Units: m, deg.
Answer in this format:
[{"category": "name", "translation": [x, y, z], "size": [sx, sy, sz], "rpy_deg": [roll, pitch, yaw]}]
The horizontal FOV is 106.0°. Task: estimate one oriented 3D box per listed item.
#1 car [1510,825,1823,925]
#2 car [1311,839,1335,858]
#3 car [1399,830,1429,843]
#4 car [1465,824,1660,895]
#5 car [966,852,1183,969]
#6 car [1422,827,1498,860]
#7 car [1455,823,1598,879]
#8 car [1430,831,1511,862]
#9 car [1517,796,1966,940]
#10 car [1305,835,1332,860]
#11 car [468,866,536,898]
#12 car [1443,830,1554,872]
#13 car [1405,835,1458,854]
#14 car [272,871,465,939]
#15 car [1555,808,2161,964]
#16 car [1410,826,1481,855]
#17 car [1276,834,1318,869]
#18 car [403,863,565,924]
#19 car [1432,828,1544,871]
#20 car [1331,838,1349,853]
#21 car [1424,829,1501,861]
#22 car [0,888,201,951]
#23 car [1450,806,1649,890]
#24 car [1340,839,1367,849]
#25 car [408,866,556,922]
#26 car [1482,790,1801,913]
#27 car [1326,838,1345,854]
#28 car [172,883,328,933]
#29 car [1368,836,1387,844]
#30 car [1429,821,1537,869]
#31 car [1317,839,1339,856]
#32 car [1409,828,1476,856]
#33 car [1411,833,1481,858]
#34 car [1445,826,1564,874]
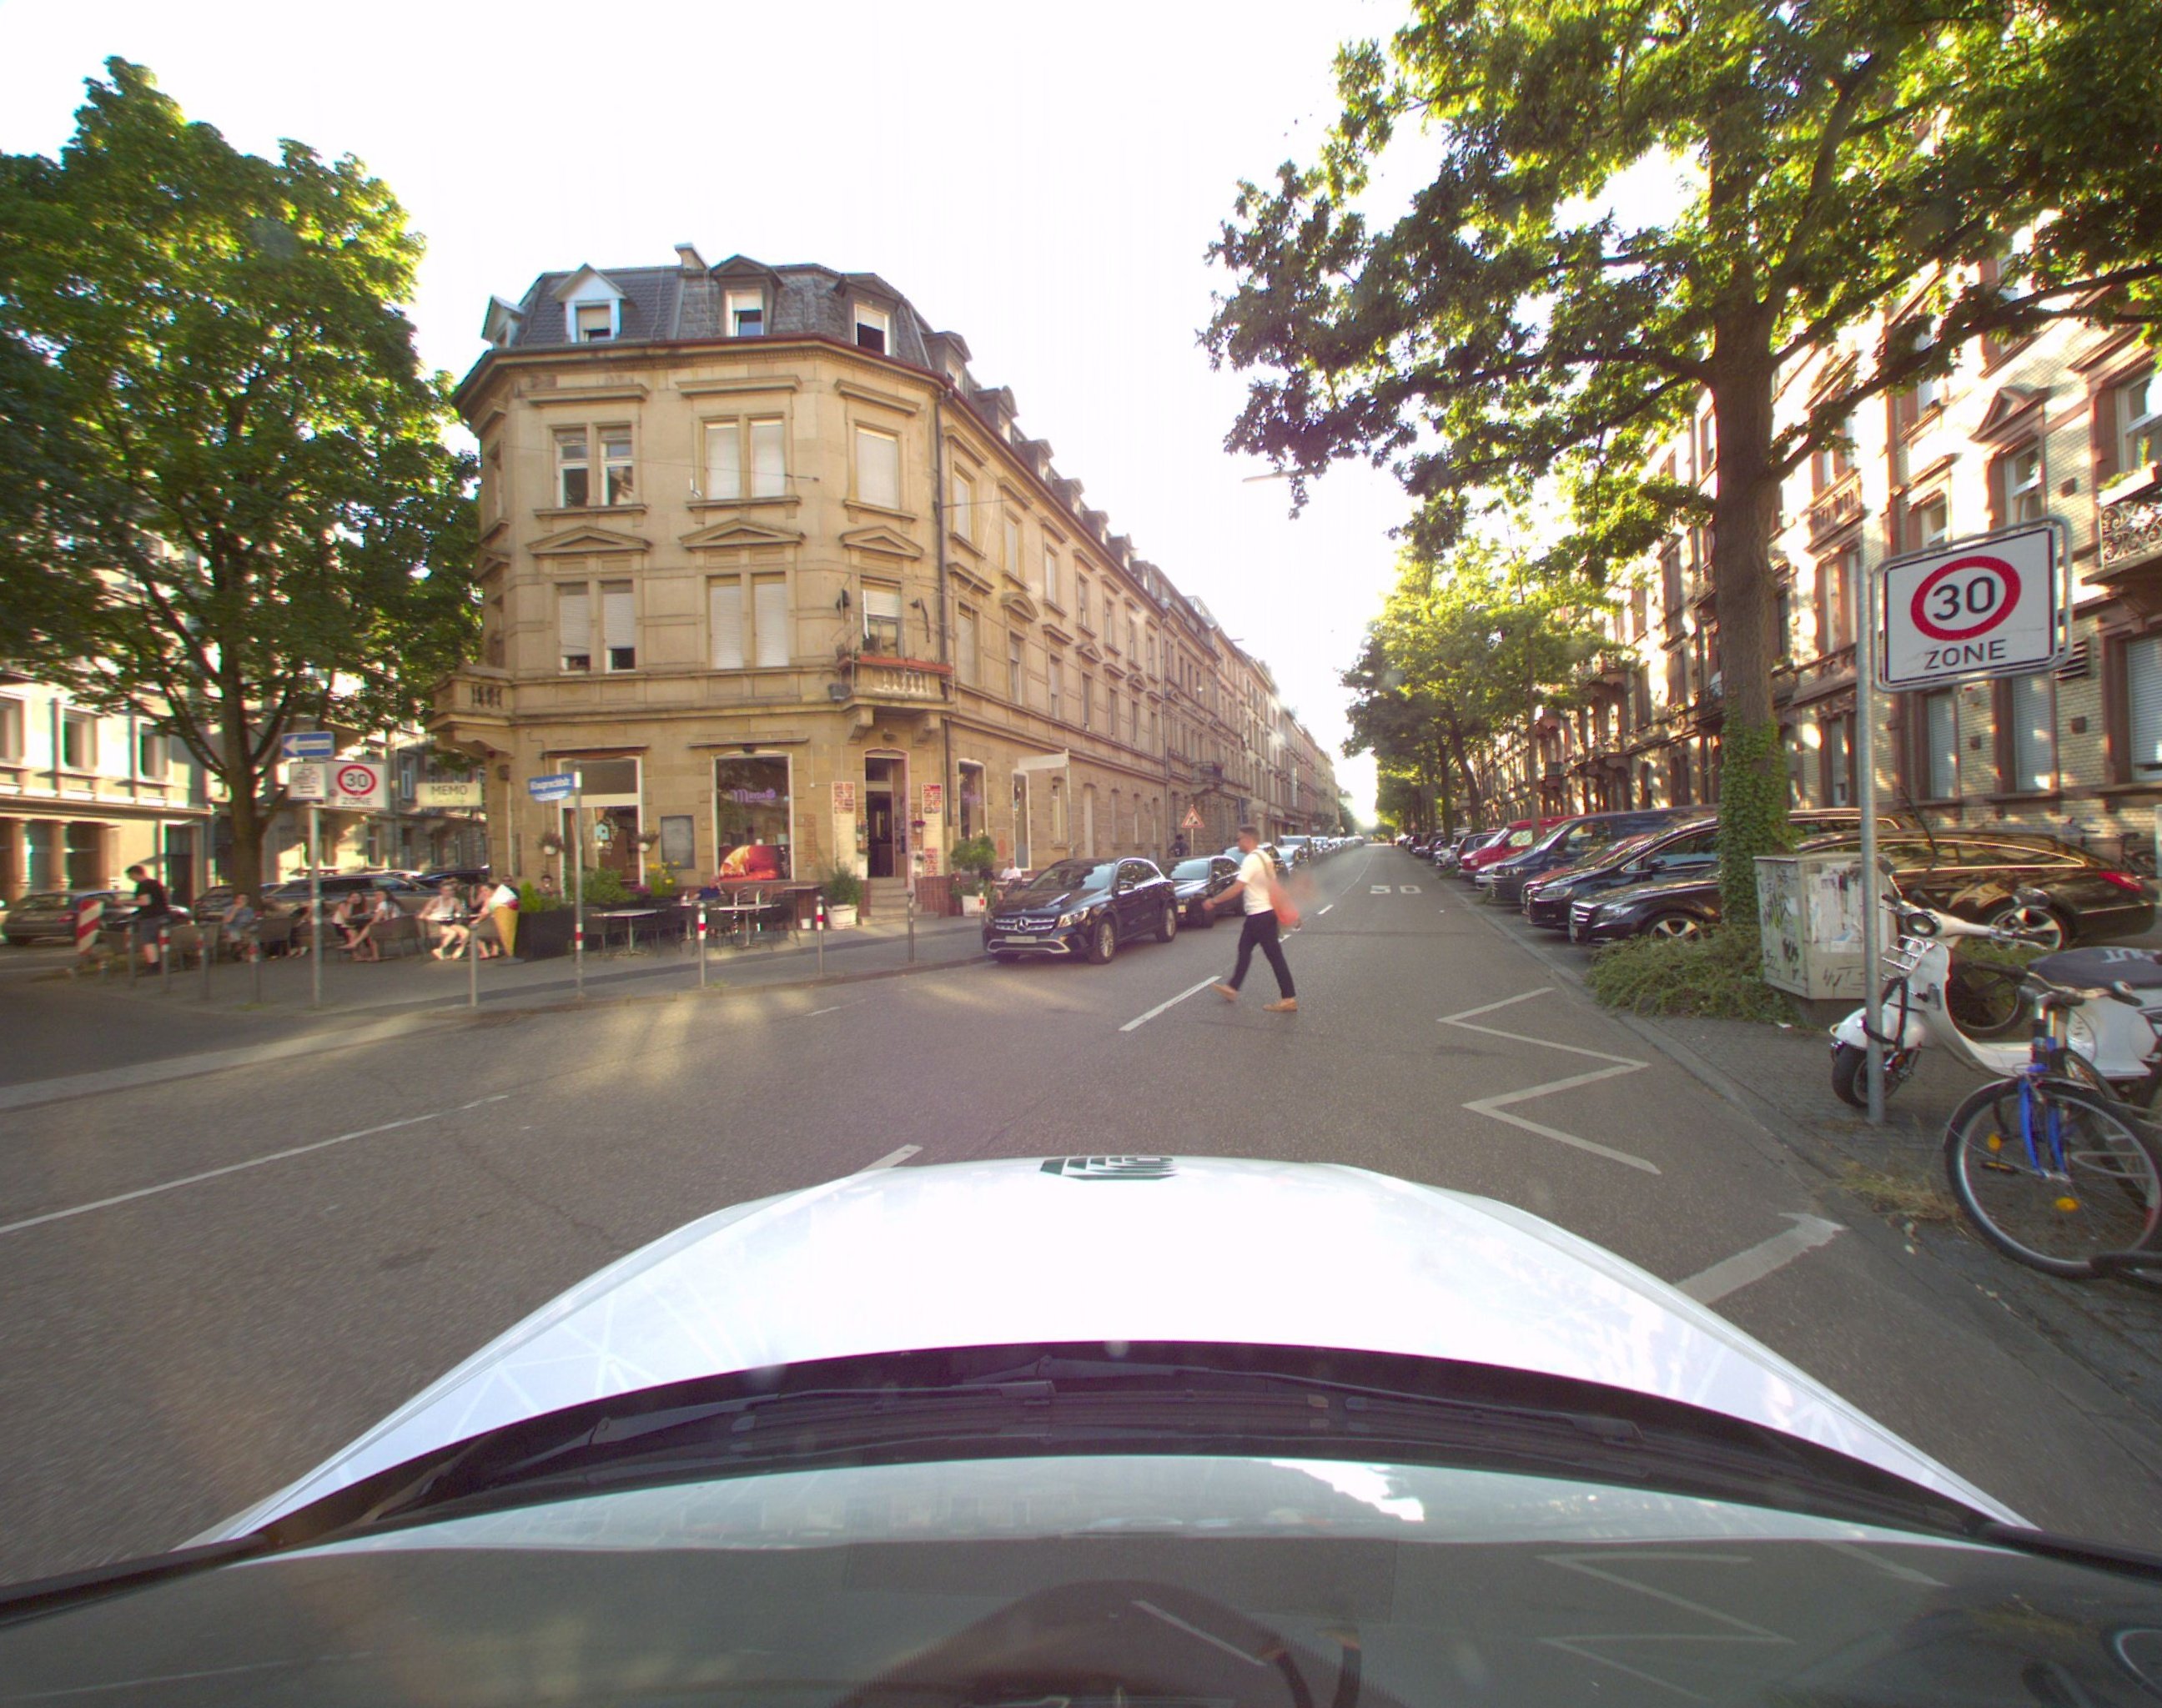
[{"category": "car", "translation": [9.854, 0.383, 14.127], "size": [4.070, 1.534, 1.734], "rpy_deg": [-2, 0, 21]}, {"category": "car", "translation": [20.395, -0.480, 68.535], "size": [1.744, 1.473, 4.079], "rpy_deg": [-3, 0, 19]}, {"category": "car", "translation": [48.975, -2.543, 119.784], "size": [3.818, 1.573, 1.727], "rpy_deg": [-4, 0, 19]}, {"category": "car", "translation": [12.391, 0.149, 21.279], "size": [4.020, 1.510, 1.888], "rpy_deg": [-4, -1, 20]}, {"category": "car", "translation": [0.096, 0.772, 12.850], "size": [1.742, 1.487, 4.163], "rpy_deg": [-3, -1, 25]}, {"category": "car", "translation": [24.171, -0.683, 52.098], "size": [4.186, 1.776, 1.844], "rpy_deg": [-4, 0, 19]}, {"category": "car", "translation": [15.435, -0.081, 28.493], "size": [4.149, 1.628, 1.848], "rpy_deg": [-4, -1, 23]}, {"category": "car", "translation": [22.478, -0.437, 47.118], "size": [3.976, 1.467, 1.743], "rpy_deg": [-4, -1, 20]}, {"category": "car", "translation": [9.019, 0.263, 11.747], "size": [4.644, 1.679, 1.862], "rpy_deg": [-4, -1, 26]}, {"category": "car", "translation": [18.684, -0.520, 63.937], "size": [1.744, 1.841, 4.552], "rpy_deg": [-3, 0, 19]}, {"category": "car", "translation": [-32.669, 1.547, 46.102], "size": [1.809, 1.684, 3.734], "rpy_deg": [-2, 0, -13]}, {"category": "car", "translation": [18.024, -0.129, 35.365], "size": [3.976, 1.434, 1.803], "rpy_deg": [-5, -1, 20]}, {"category": "car", "translation": [29.510, -0.810, 68.680], "size": [3.820, 1.293, 1.726], "rpy_deg": [-4, 0, 17]}, {"category": "car", "translation": [-19.584, 1.342, 22.481], "size": [1.781, 1.562, 3.859], "rpy_deg": [-2, 0, 45]}, {"category": "car", "translation": [8.375, 0.409, 9.404], "size": [4.743, 1.413, 1.861], "rpy_deg": [-4, -1, 23]}, {"category": "car", "translation": [29.297, -1.115, 65.689], "size": [5.014, 1.925, 1.845], "rpy_deg": [-4, 0, 20]}, {"category": "car", "translation": [12.639, -0.196, 47.425], "size": [1.816, 1.943, 5.287], "rpy_deg": [0, 1, 20]}, {"category": "car", "translation": [-19.245, 1.219, 26.513], "size": [4.013, 1.684, 1.980], "rpy_deg": [-2, 0, -31]}, {"category": "car", "translation": [18.710, -0.213, 37.653], "size": [4.308, 1.556, 1.859], "rpy_deg": [-5, 0, 20]}, {"category": "car", "translation": [28.365, -0.908, 89.156], "size": [1.744, 1.473, 4.079], "rpy_deg": [-3, 0, 19]}, {"category": "car", "translation": [23.072, -0.536, 49.389], "size": [3.976, 1.607, 1.743], "rpy_deg": [-4, -1, 20]}, {"category": "car", "translation": [-26.818, 1.733, 22.279], "size": [1.925, 1.376, 3.734], "rpy_deg": [-2, 0, -13]}, {"category": "car", "translation": [13.512, -0.151, 23.811], "size": [4.638, 2.033, 1.887], "rpy_deg": [-4, -1, 17]}, {"category": "car", "translation": [43.452, -1.660, 129.837], "size": [4.019, 1.486, 1.977], "rpy_deg": [-1, -2, -37]}, {"category": "car", "translation": [-20.969, 1.355, 28.565], "size": [4.021, 1.684, 1.976], "rpy_deg": [-2, 0, -40]}, {"category": "car", "translation": [11.151, 0.008, 16.697], "size": [4.979, 2.215, 2.002], "rpy_deg": [-2, 0, 19]}, {"category": "car", "translation": [26.520, -0.869, 84.724], "size": [1.744, 1.473, 4.079], "rpy_deg": [-3, 0, 19]}, {"category": "car", "translation": [-27.784, 1.742, 27.422], "size": [1.925, 1.376, 3.734], "rpy_deg": [-2, 0, -13]}, {"category": "car", "translation": [70.391, -3.295, 193.381], "size": [3.949, 1.859, 1.762], "rpy_deg": [-1, 1, 28]}, {"category": "car", "translation": [19.654, -0.446, 40.048], "size": [4.408, 1.924, 1.859], "rpy_deg": [-5, 0, 18]}, {"category": "car", "translation": [22.564, -0.618, 74.271], "size": [1.744, 1.473, 4.079], "rpy_deg": [-3, 0, 19]}, {"category": "car", "translation": [27.603, -0.917, 62.314], "size": [4.206, 1.795, 1.835], "rpy_deg": [-4, 0, 1]}, {"category": "car", "translation": [25.519, -0.590, 57.046], "size": [4.189, 1.403, 1.843], "rpy_deg": [-4, 0, 16]}, {"category": "car", "translation": [17.104, -0.147, 33.076], "size": [3.977, 1.628, 1.814], "rpy_deg": [-4, -1, 19]}]
